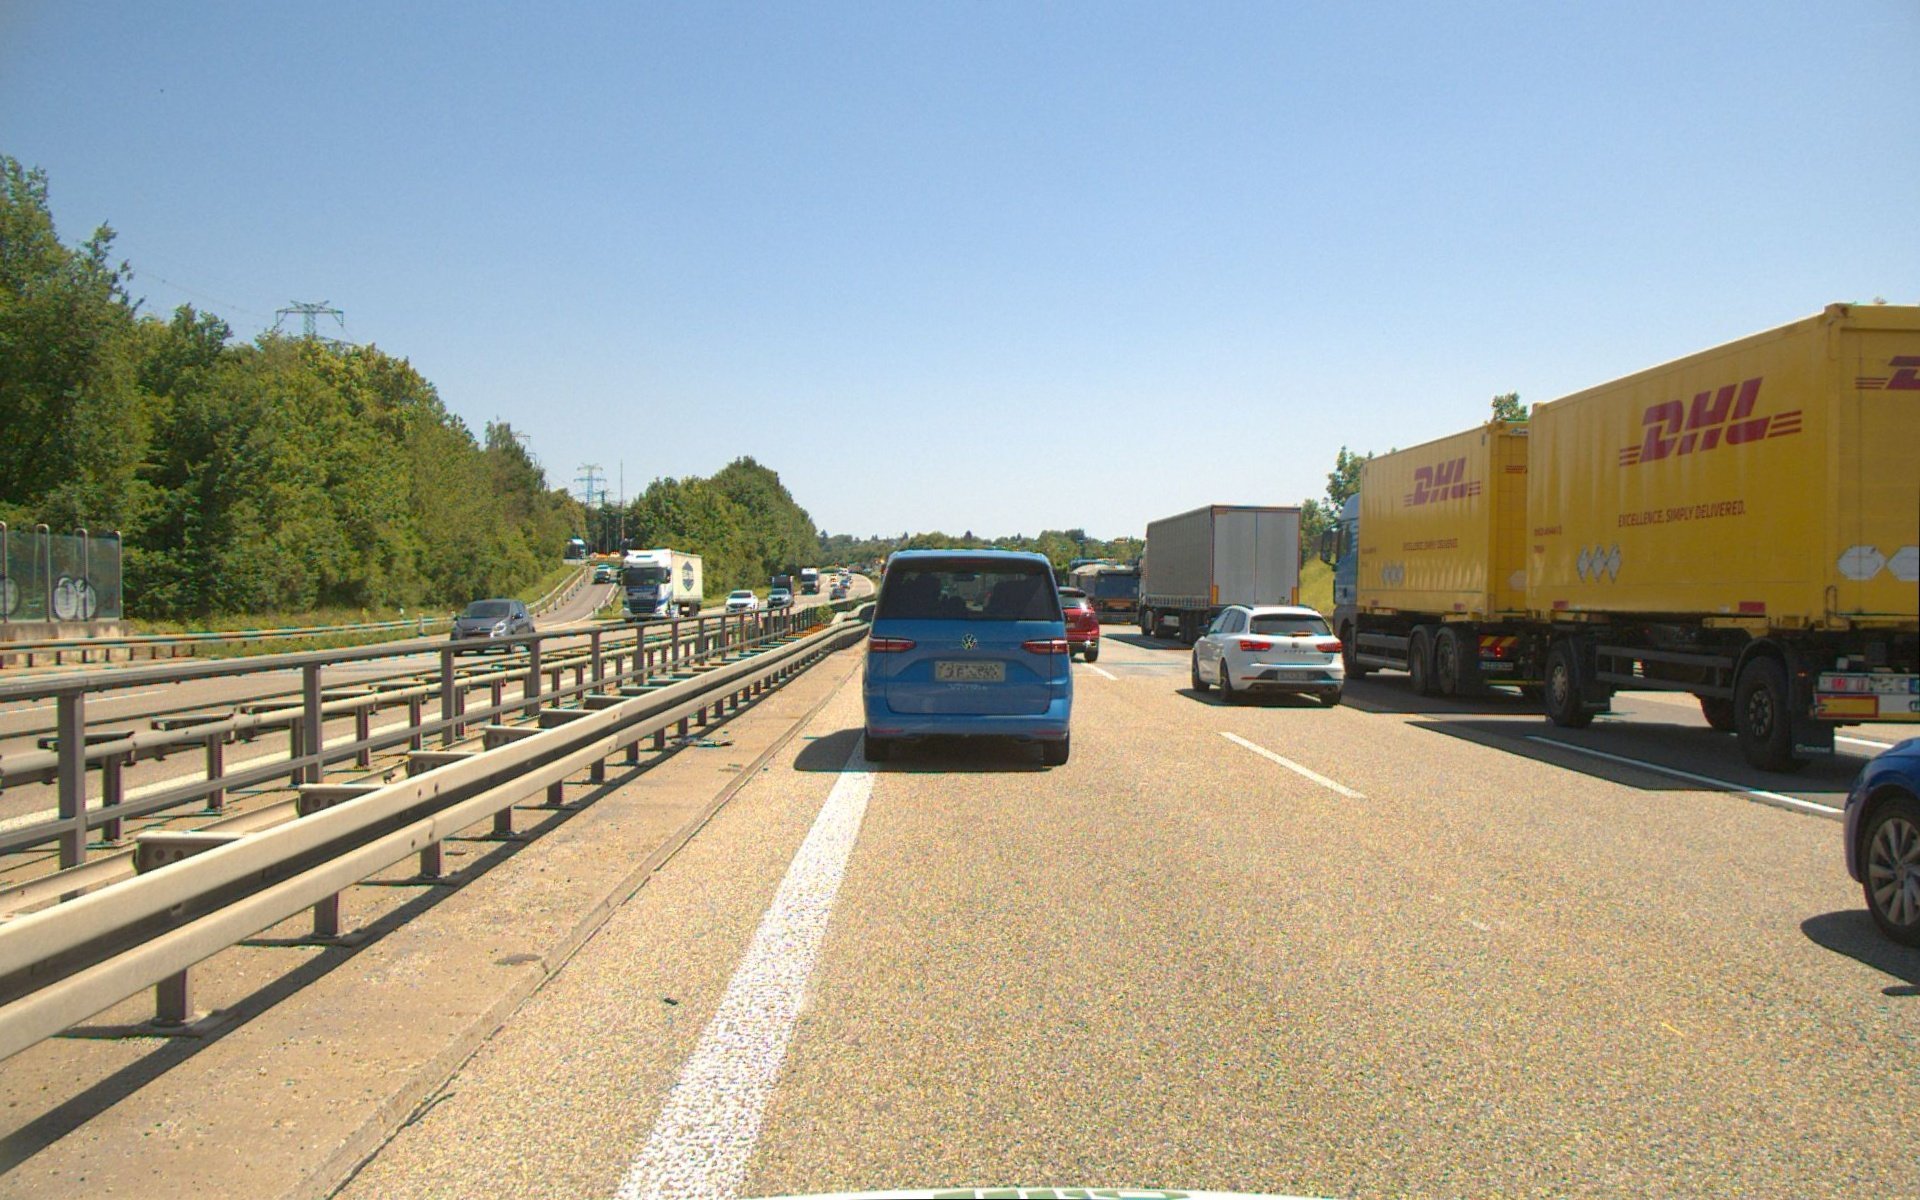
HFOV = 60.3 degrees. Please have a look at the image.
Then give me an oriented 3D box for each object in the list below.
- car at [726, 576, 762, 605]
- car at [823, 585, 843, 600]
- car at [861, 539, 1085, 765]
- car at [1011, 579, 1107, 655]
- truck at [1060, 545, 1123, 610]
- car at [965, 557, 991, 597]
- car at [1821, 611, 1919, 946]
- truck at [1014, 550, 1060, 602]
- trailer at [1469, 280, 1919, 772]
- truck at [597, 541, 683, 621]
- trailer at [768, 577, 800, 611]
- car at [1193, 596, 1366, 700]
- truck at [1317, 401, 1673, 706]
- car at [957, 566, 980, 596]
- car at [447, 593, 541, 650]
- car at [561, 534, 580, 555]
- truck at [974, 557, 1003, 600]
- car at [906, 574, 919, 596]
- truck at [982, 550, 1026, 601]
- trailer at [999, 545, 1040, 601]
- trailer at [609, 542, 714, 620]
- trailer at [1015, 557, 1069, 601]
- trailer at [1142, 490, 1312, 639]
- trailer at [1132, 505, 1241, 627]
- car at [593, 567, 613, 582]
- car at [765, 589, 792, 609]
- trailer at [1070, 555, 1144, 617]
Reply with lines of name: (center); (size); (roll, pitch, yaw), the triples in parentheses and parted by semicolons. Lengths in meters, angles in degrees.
car: (-13.709, -0.592, 105.264); (1.713, 1.725, 4.384); (-2, 0, -1)
car: (-13.381, -0.777, 174.689); (1.755, 1.600, 3.999); (1, 0, -1)
car: (0.106, 0.438, 16.004); (1.862, 1.870, 4.000); (1, 0, 0)
car: (2.199, 0.364, 37.588); (1.833, 1.579, 3.999); (1, 0, -1)
truck: (7.145, -1.285, 90.981); (2.688, 3.369, 7.131); (1, 1, -1)
car: (2.447, -3.084, 228.316); (3.153, 5.349, 8.142); (1, 0, -1)
car: (5.100, 0.813, 5.907); (1.671, 1.466, 4.427); (1, 0, -1)
truck: (6.434, -1.949, 138.726); (3.551, 4.166, 7.525); (1, 0, 1)
trailer: (8.663, -0.617, 18.844); (2.709, 4.189, 9.376); (1, 0, 0)
truck: (-18.071, -1.034, 93.690); (3.925, 4.302, 4.857); (-1, 0, -1)
trailer: (-15.621, -0.532, 147.080); (2.122, 2.825, 5.375); (-3, 0, -1)
car: (4.760, 0.666, 25.193); (1.829, 1.384, 4.000); (1, 1, 0)
truck: (8.538, -0.649, 28.020); (2.709, 4.181, 9.951); (1, 0, 0)
car: (0.897, -1.982, 173.023); (2.239, 3.060, 5.575); (1, 0, 1)
car: (-12.937, 0.575, 46.115); (1.619, 1.488, 3.541); (-1, 0, -1)
car: (-58.453, -8.326, 247.966); (2.038, 2.930, 6.693); (-1, 0, -20)
truck: (3.392, -2.572, 199.592); (3.006, 5.006, 10.686); (1, 0, -2)
car: (-7.386, -2.306, 257.495); (1.953, 3.473, 3.999); (1, 0, -2)
truck: (4.773, -2.636, 182.846); (3.549, 5.303, 15.680); (1, 0, -3)
trailer: (5.729, -2.561, 162.477); (3.571, 5.226, 13.076); (1, 0, 0)
trailer: (-18.134, -1.105, 101.771); (3.908, 4.309, 14.038); (-2, 0, -1)
trailer: (6.336, -1.564, 130.356); (3.571, 3.132, 15.772); (1, 0, 0)
trailer: (8.166, -1.066, 52.780); (2.902, 4.120, 13.749); (1, 1, -1)
trailer: (8.030, -1.205, 59.409); (2.865, 4.114, 6.409); (1, 1, -1)
car: (-43.054, -3.076, 199.779); (1.956, 1.603, 5.265); (1, 0, -8)
car: (-15.553, -0.087, 142.164); (1.832, 1.654, 4.628); (0, 0, -1)
trailer: (7.360, -0.801, 83.830); (2.688, 2.886, 9.114); (1, 1, -1)
